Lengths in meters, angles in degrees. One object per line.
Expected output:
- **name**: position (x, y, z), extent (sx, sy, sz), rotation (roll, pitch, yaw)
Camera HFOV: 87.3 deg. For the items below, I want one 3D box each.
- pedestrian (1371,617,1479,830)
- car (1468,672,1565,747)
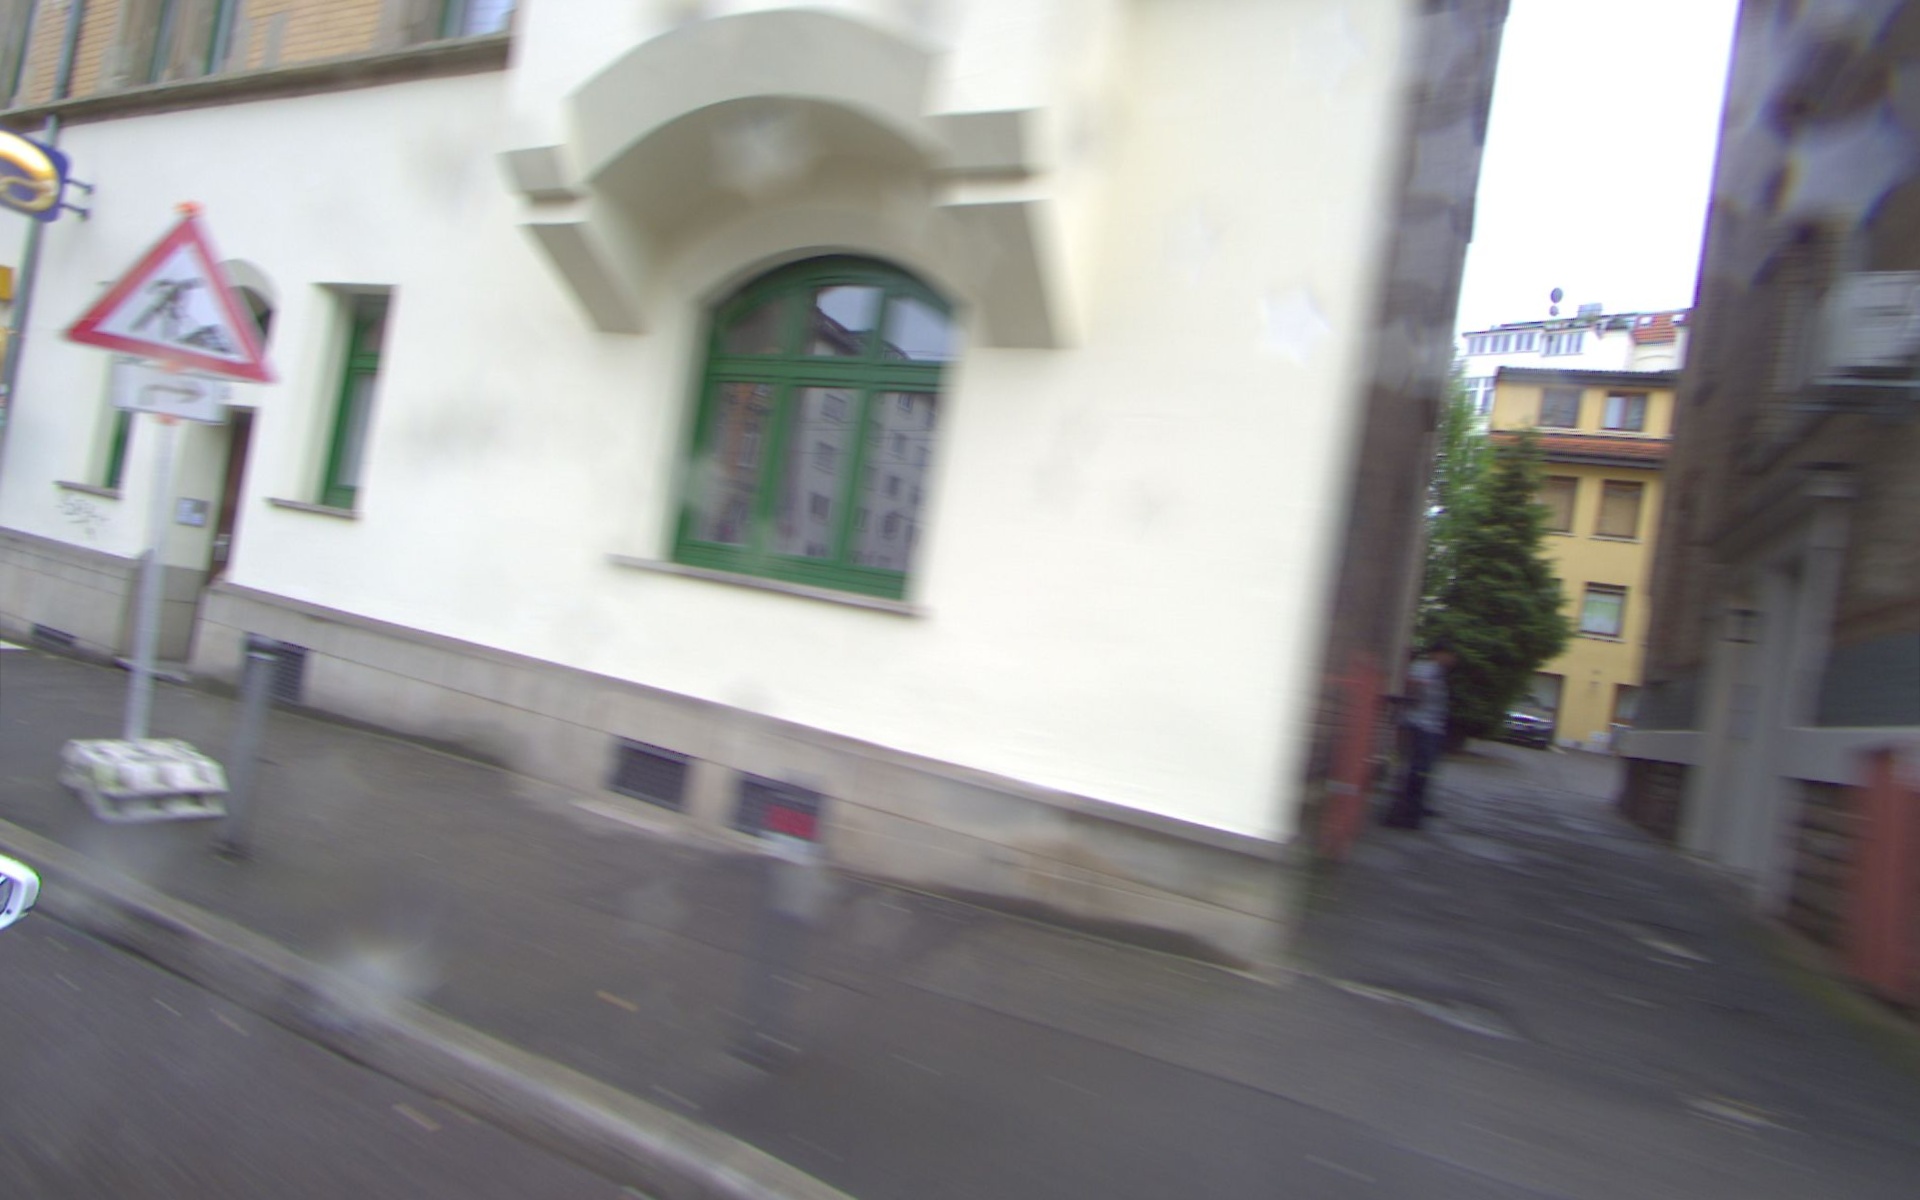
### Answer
- **pedestrian**: position (4.514, 1.166, 9.770), extent (0.706, 1.889, 0.897), rotation (7, 0, 26)
- **car**: position (14.405, 2.866, 26.210), extent (1.668, 1.569, 3.750), rotation (7, -3, 24)
